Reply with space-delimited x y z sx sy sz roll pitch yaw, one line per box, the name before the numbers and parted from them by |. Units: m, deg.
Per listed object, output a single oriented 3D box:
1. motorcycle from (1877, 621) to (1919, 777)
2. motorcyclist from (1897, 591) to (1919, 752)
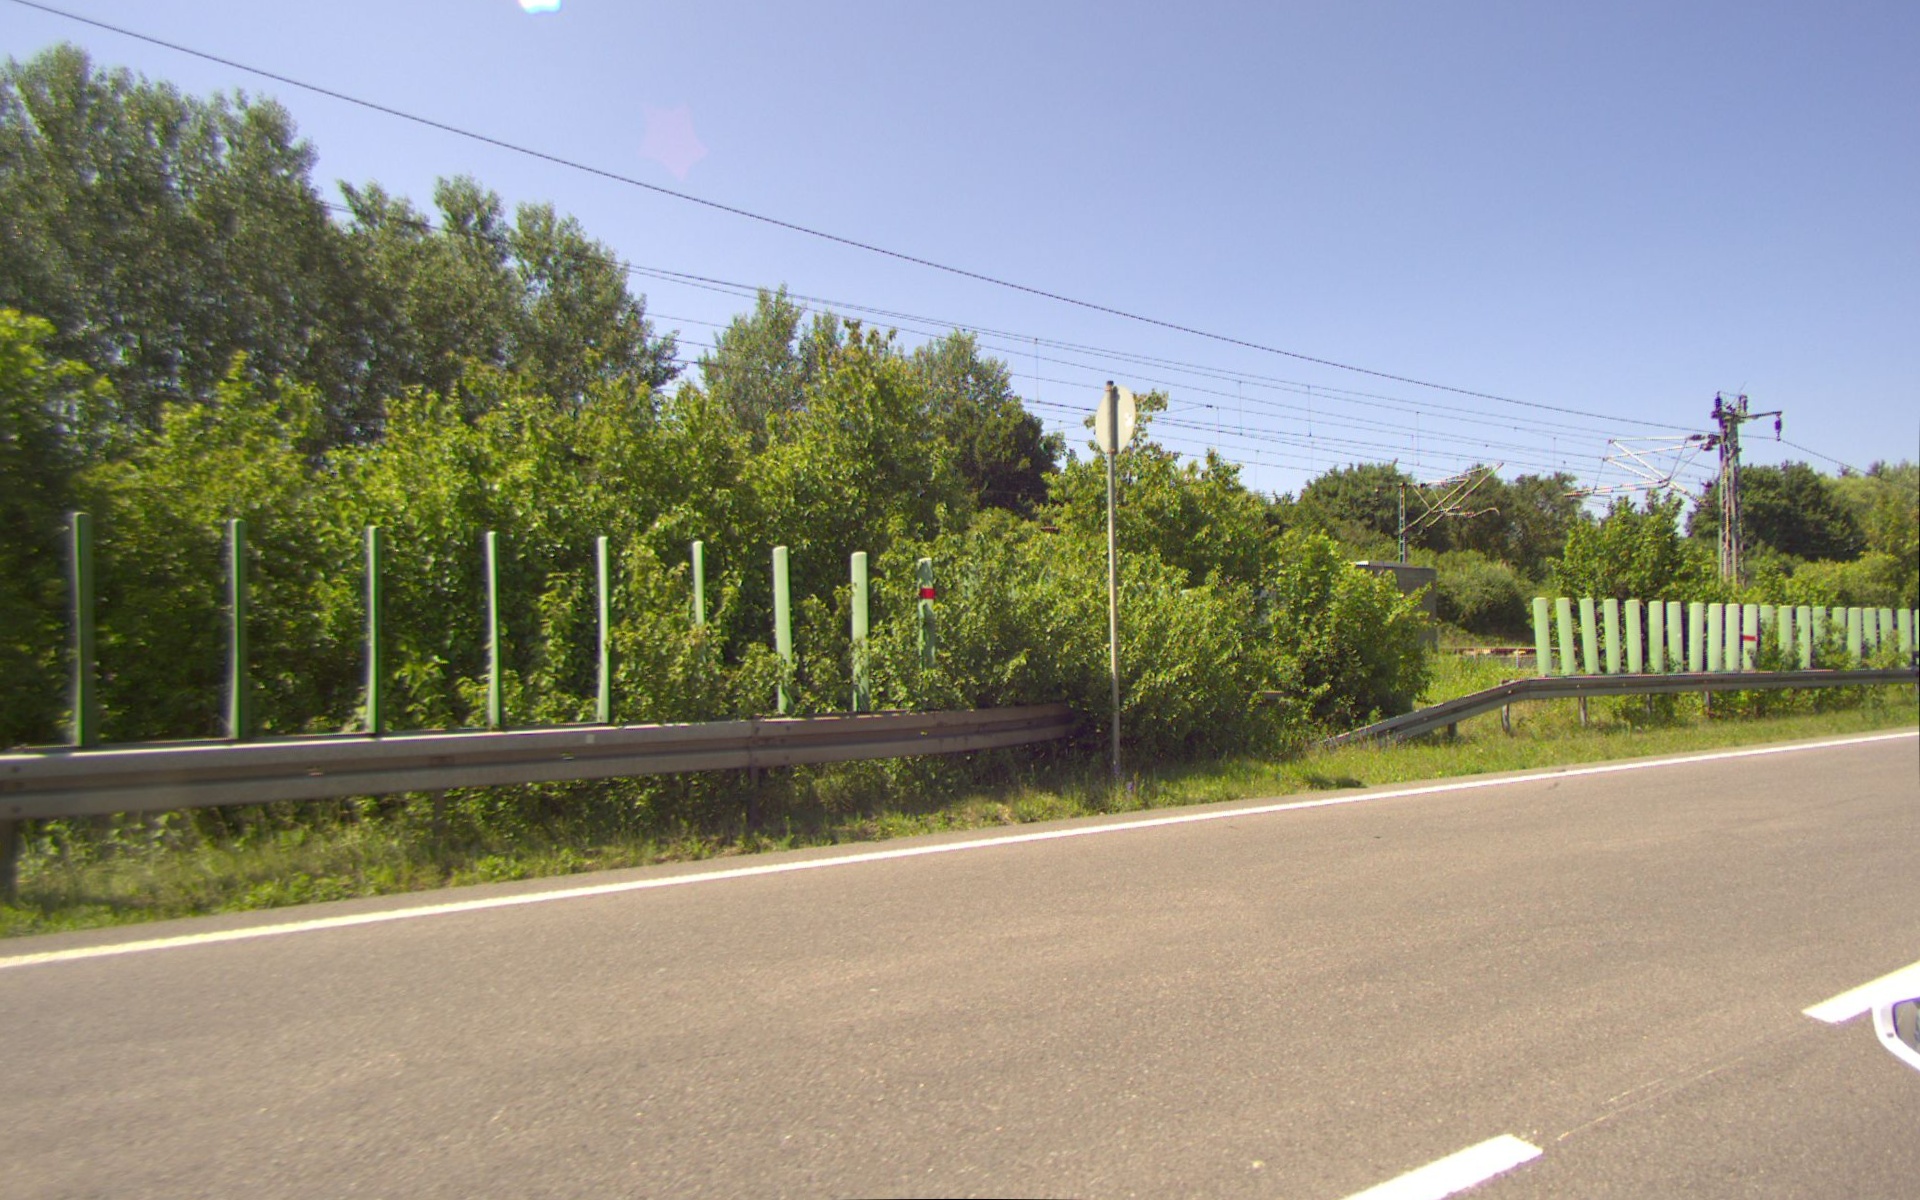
motorcycle | 10.548 0.996 10.261 2.597 1.515 0.964 2 -2 -29
motorcyclist | 10.290 0.740 10.113 0.990 1.631 0.955 1 0 -28
